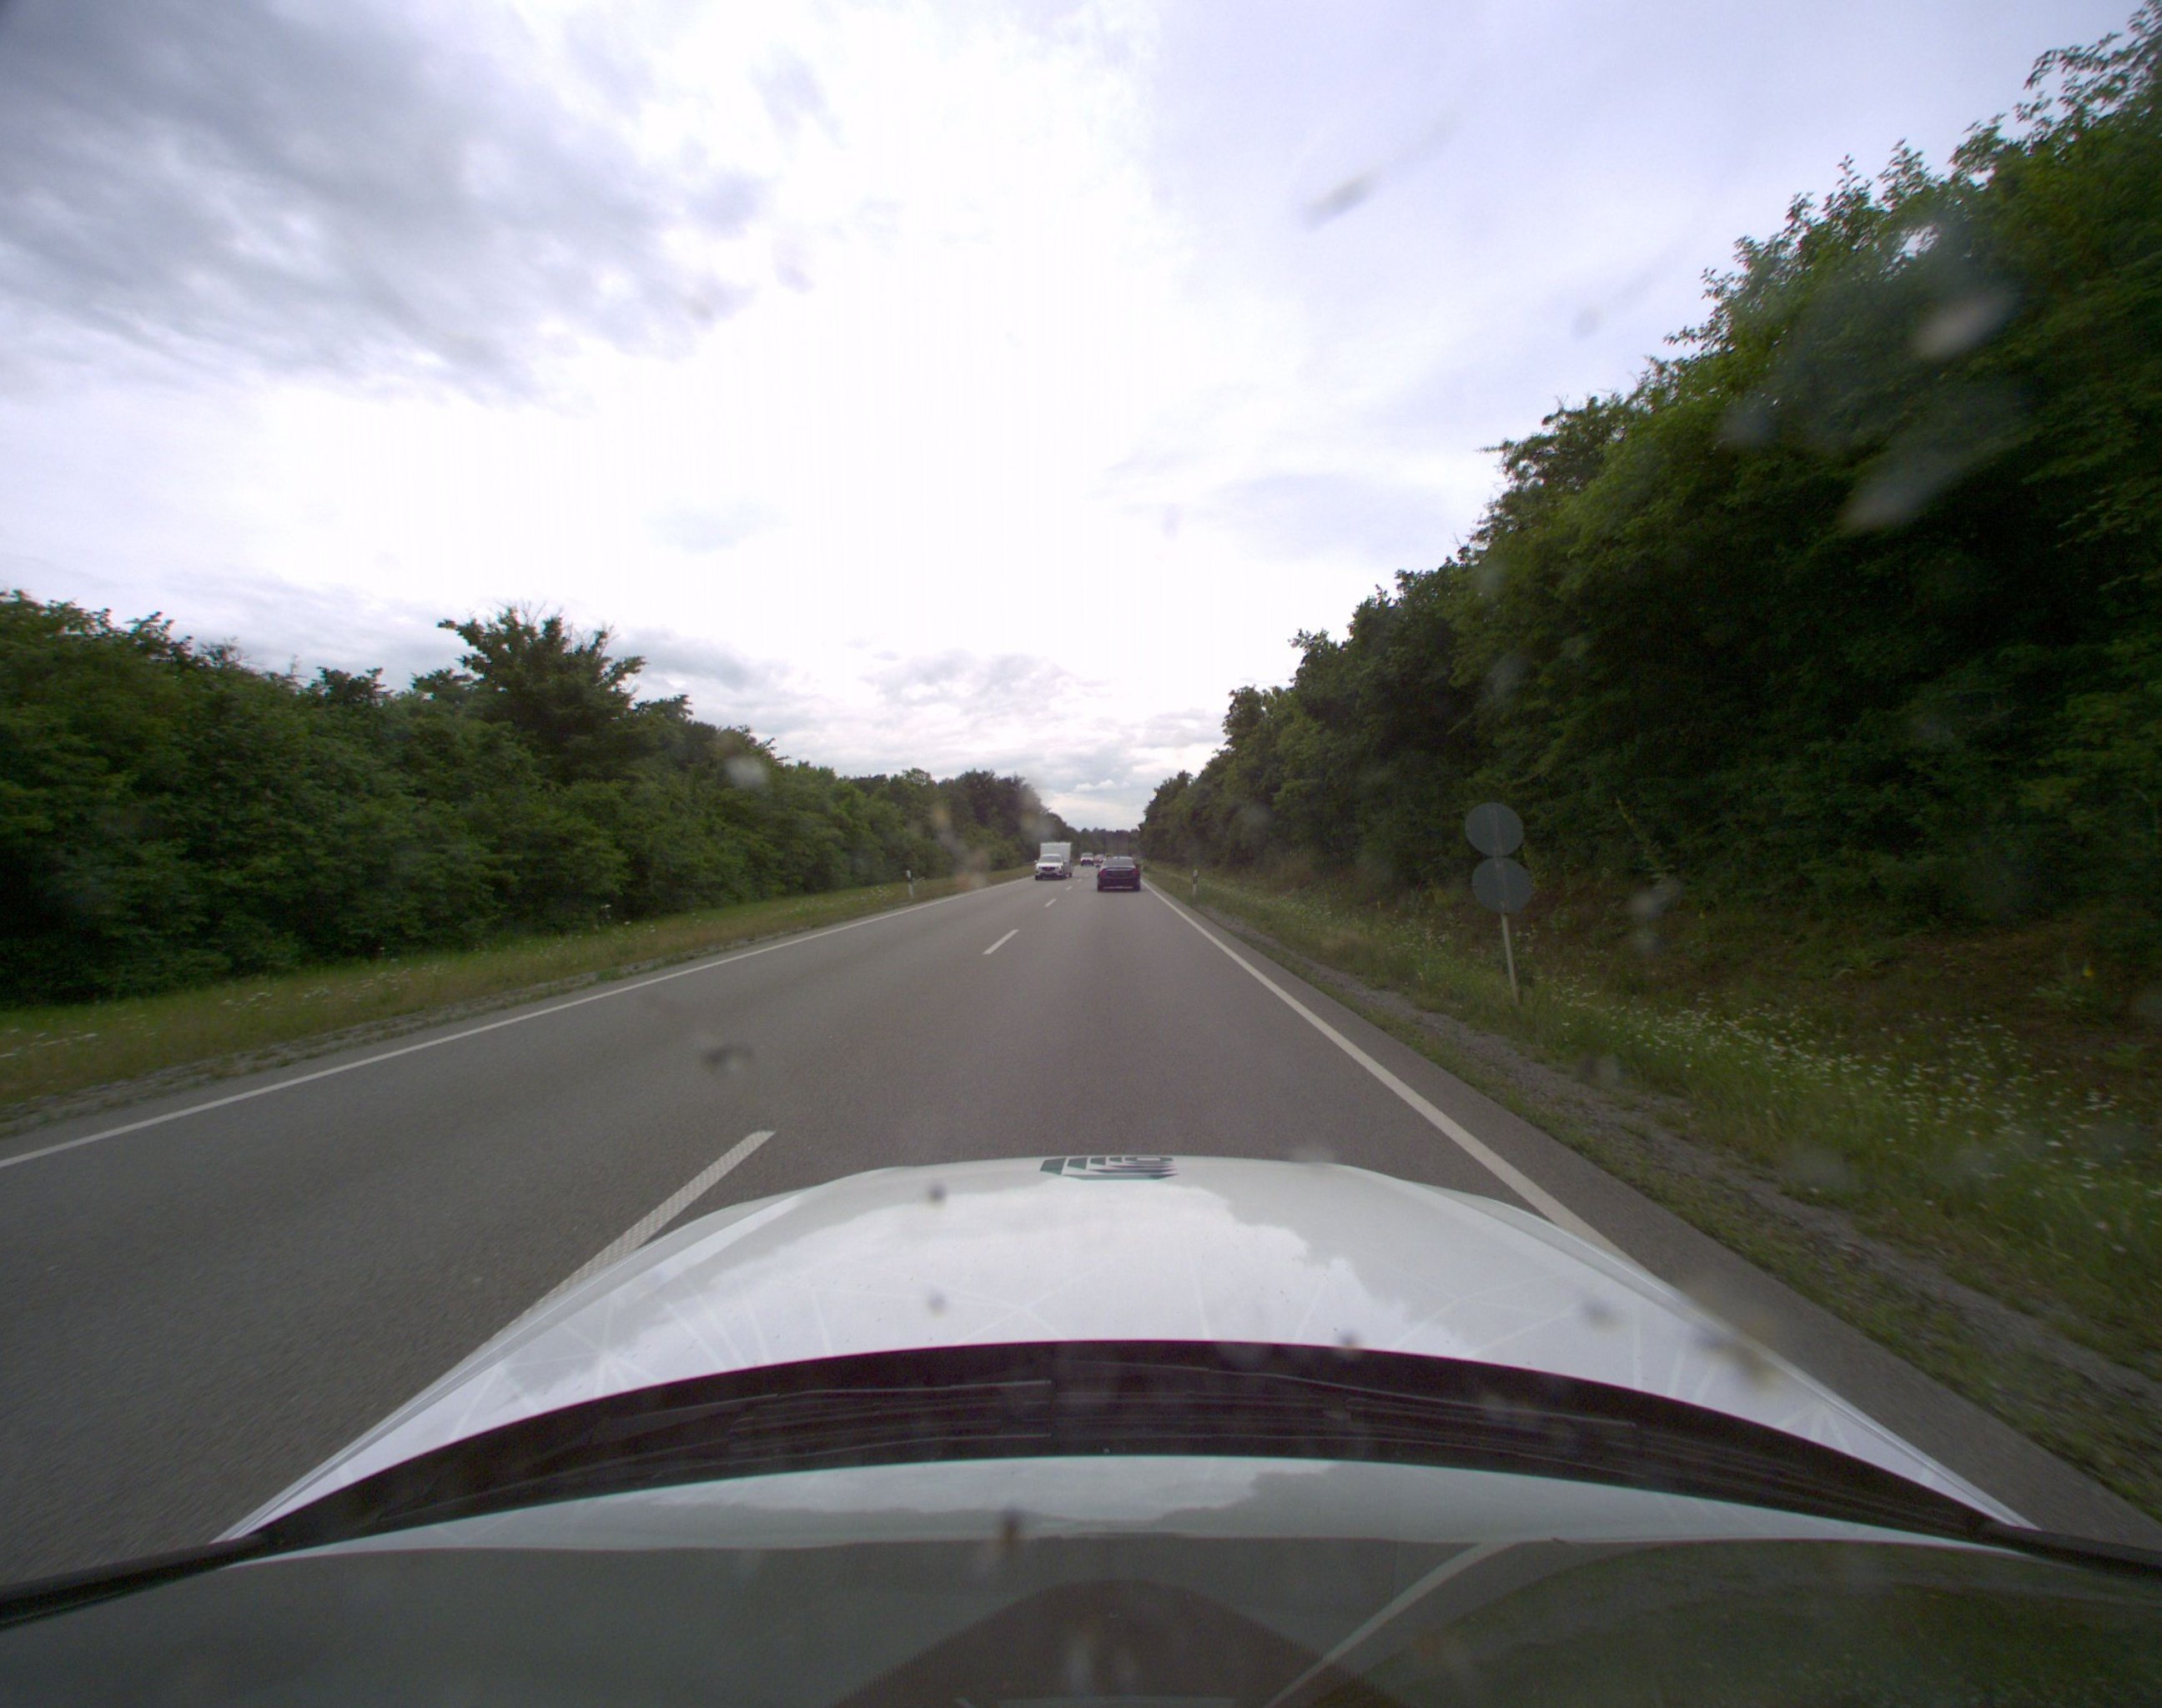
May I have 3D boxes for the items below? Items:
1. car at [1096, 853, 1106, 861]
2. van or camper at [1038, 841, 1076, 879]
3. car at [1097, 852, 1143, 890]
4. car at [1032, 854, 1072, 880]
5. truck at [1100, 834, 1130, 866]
[{"bbox_3d":[3.866,0.625,157.110,1.681,1.479,4.459,0,0,2],"label":"car"},{"bbox_3d":[-1.674,0.409,58.782,2.371,2.575,6.282,0,0,2],"label":"van or camper"},{"bbox_3d":[1.642,0.709,35.518,1.786,1.552,3.999,0,0,-1],"label":"car"},{"bbox_3d":[-1.857,0.819,53.200,2.270,1.603,4.693,0,0,2],"label":"car"},{"bbox_3d":[4.071,-0.412,96.283,3.267,3.611,11.410,0,0,4],"label":"truck"}]
